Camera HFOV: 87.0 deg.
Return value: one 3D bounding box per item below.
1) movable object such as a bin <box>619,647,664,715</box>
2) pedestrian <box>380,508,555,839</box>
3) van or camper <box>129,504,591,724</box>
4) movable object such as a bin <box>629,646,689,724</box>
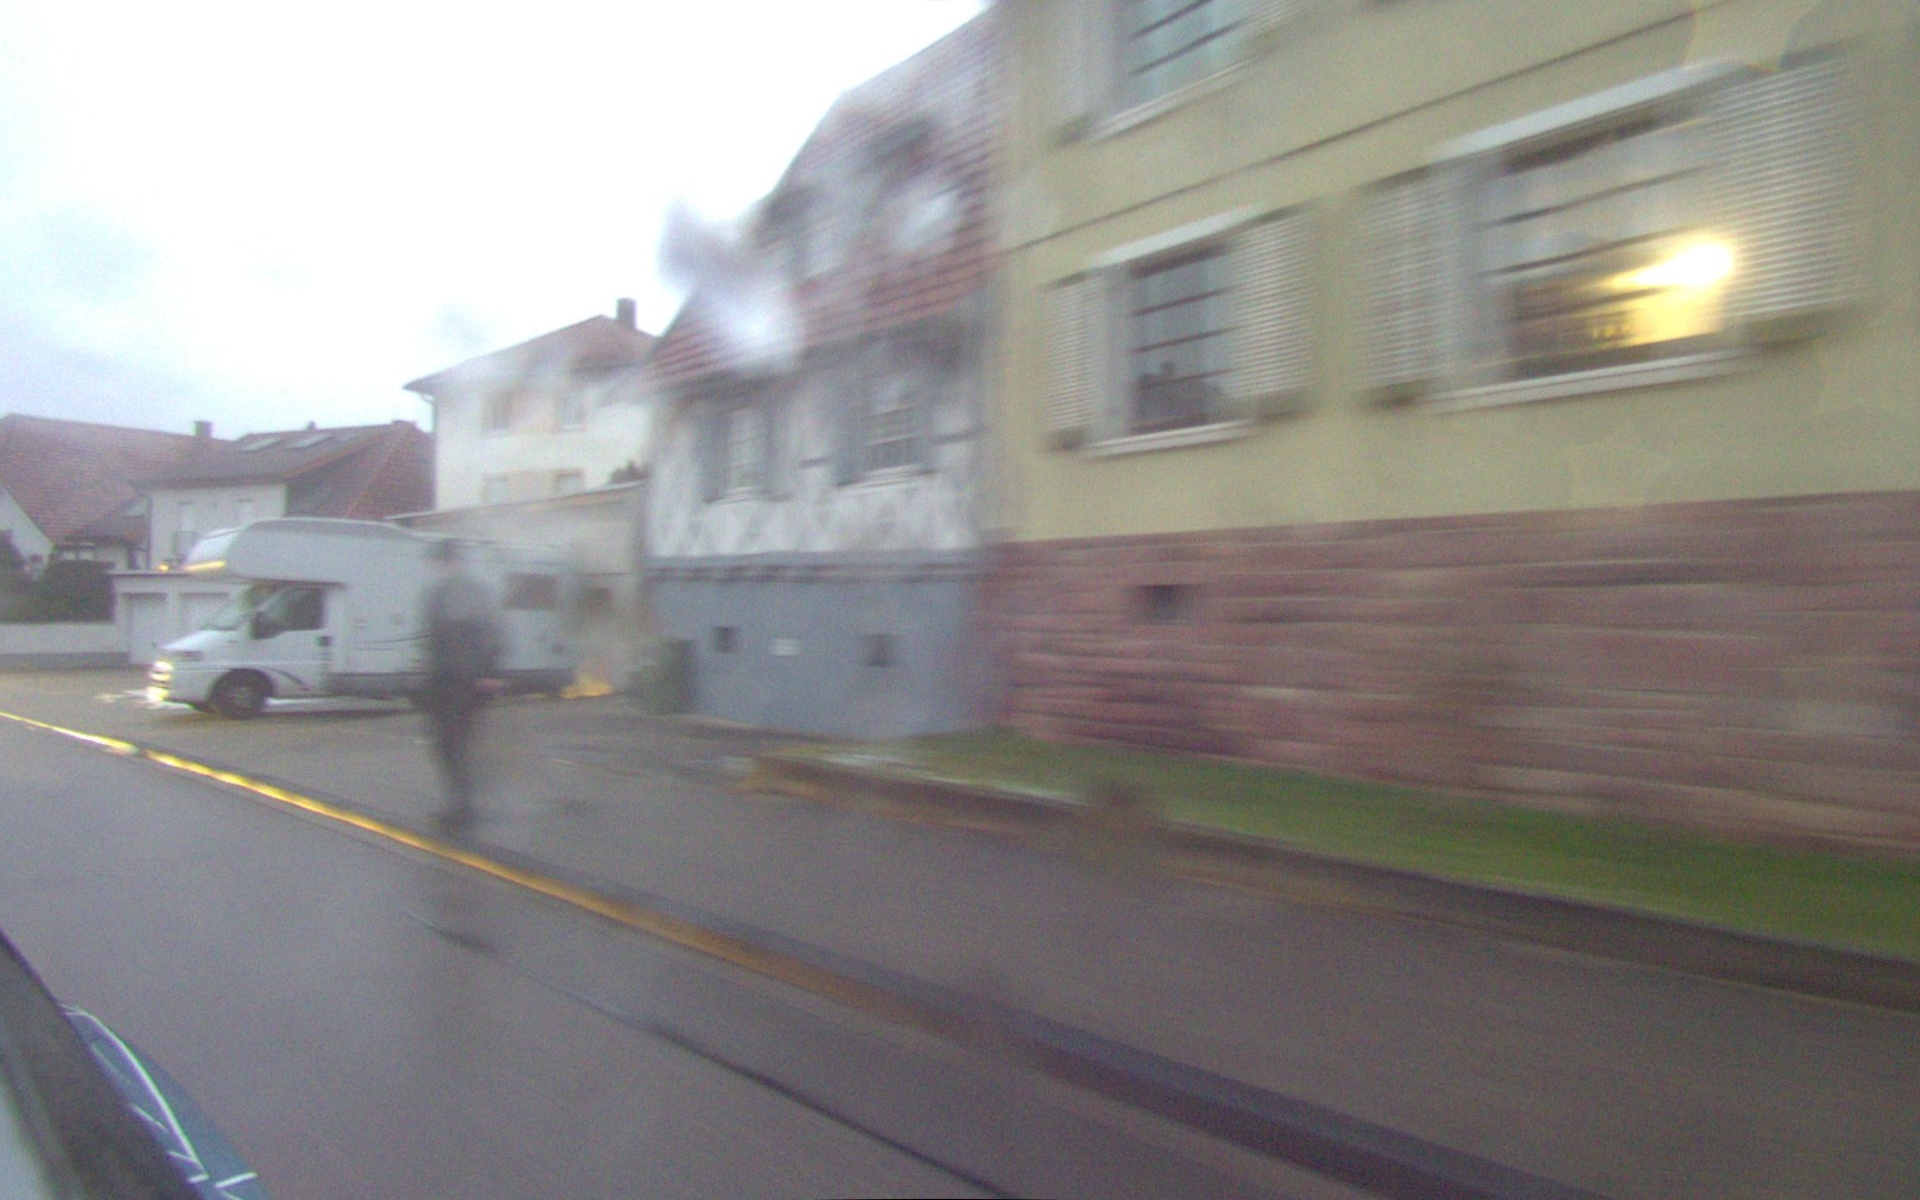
[{"bbox_3d":[-4.611,1.160,14.638,0.451,0.955,0.502,1,-2,-43],"label":"movable object such as a bin"},{"bbox_3d":[-3.303,0.450,6.791,0.869,2.029,0.775,-1,0,42],"label":"pedestrian"},{"bbox_3d":[-9.492,0.371,16.615,2.322,2.964,5.994,-1,-4,41],"label":"van or camper"},{"bbox_3d":[-4.224,1.176,14.199,0.609,1.028,0.581,1,-2,-43],"label":"movable object such as a bin"}]
